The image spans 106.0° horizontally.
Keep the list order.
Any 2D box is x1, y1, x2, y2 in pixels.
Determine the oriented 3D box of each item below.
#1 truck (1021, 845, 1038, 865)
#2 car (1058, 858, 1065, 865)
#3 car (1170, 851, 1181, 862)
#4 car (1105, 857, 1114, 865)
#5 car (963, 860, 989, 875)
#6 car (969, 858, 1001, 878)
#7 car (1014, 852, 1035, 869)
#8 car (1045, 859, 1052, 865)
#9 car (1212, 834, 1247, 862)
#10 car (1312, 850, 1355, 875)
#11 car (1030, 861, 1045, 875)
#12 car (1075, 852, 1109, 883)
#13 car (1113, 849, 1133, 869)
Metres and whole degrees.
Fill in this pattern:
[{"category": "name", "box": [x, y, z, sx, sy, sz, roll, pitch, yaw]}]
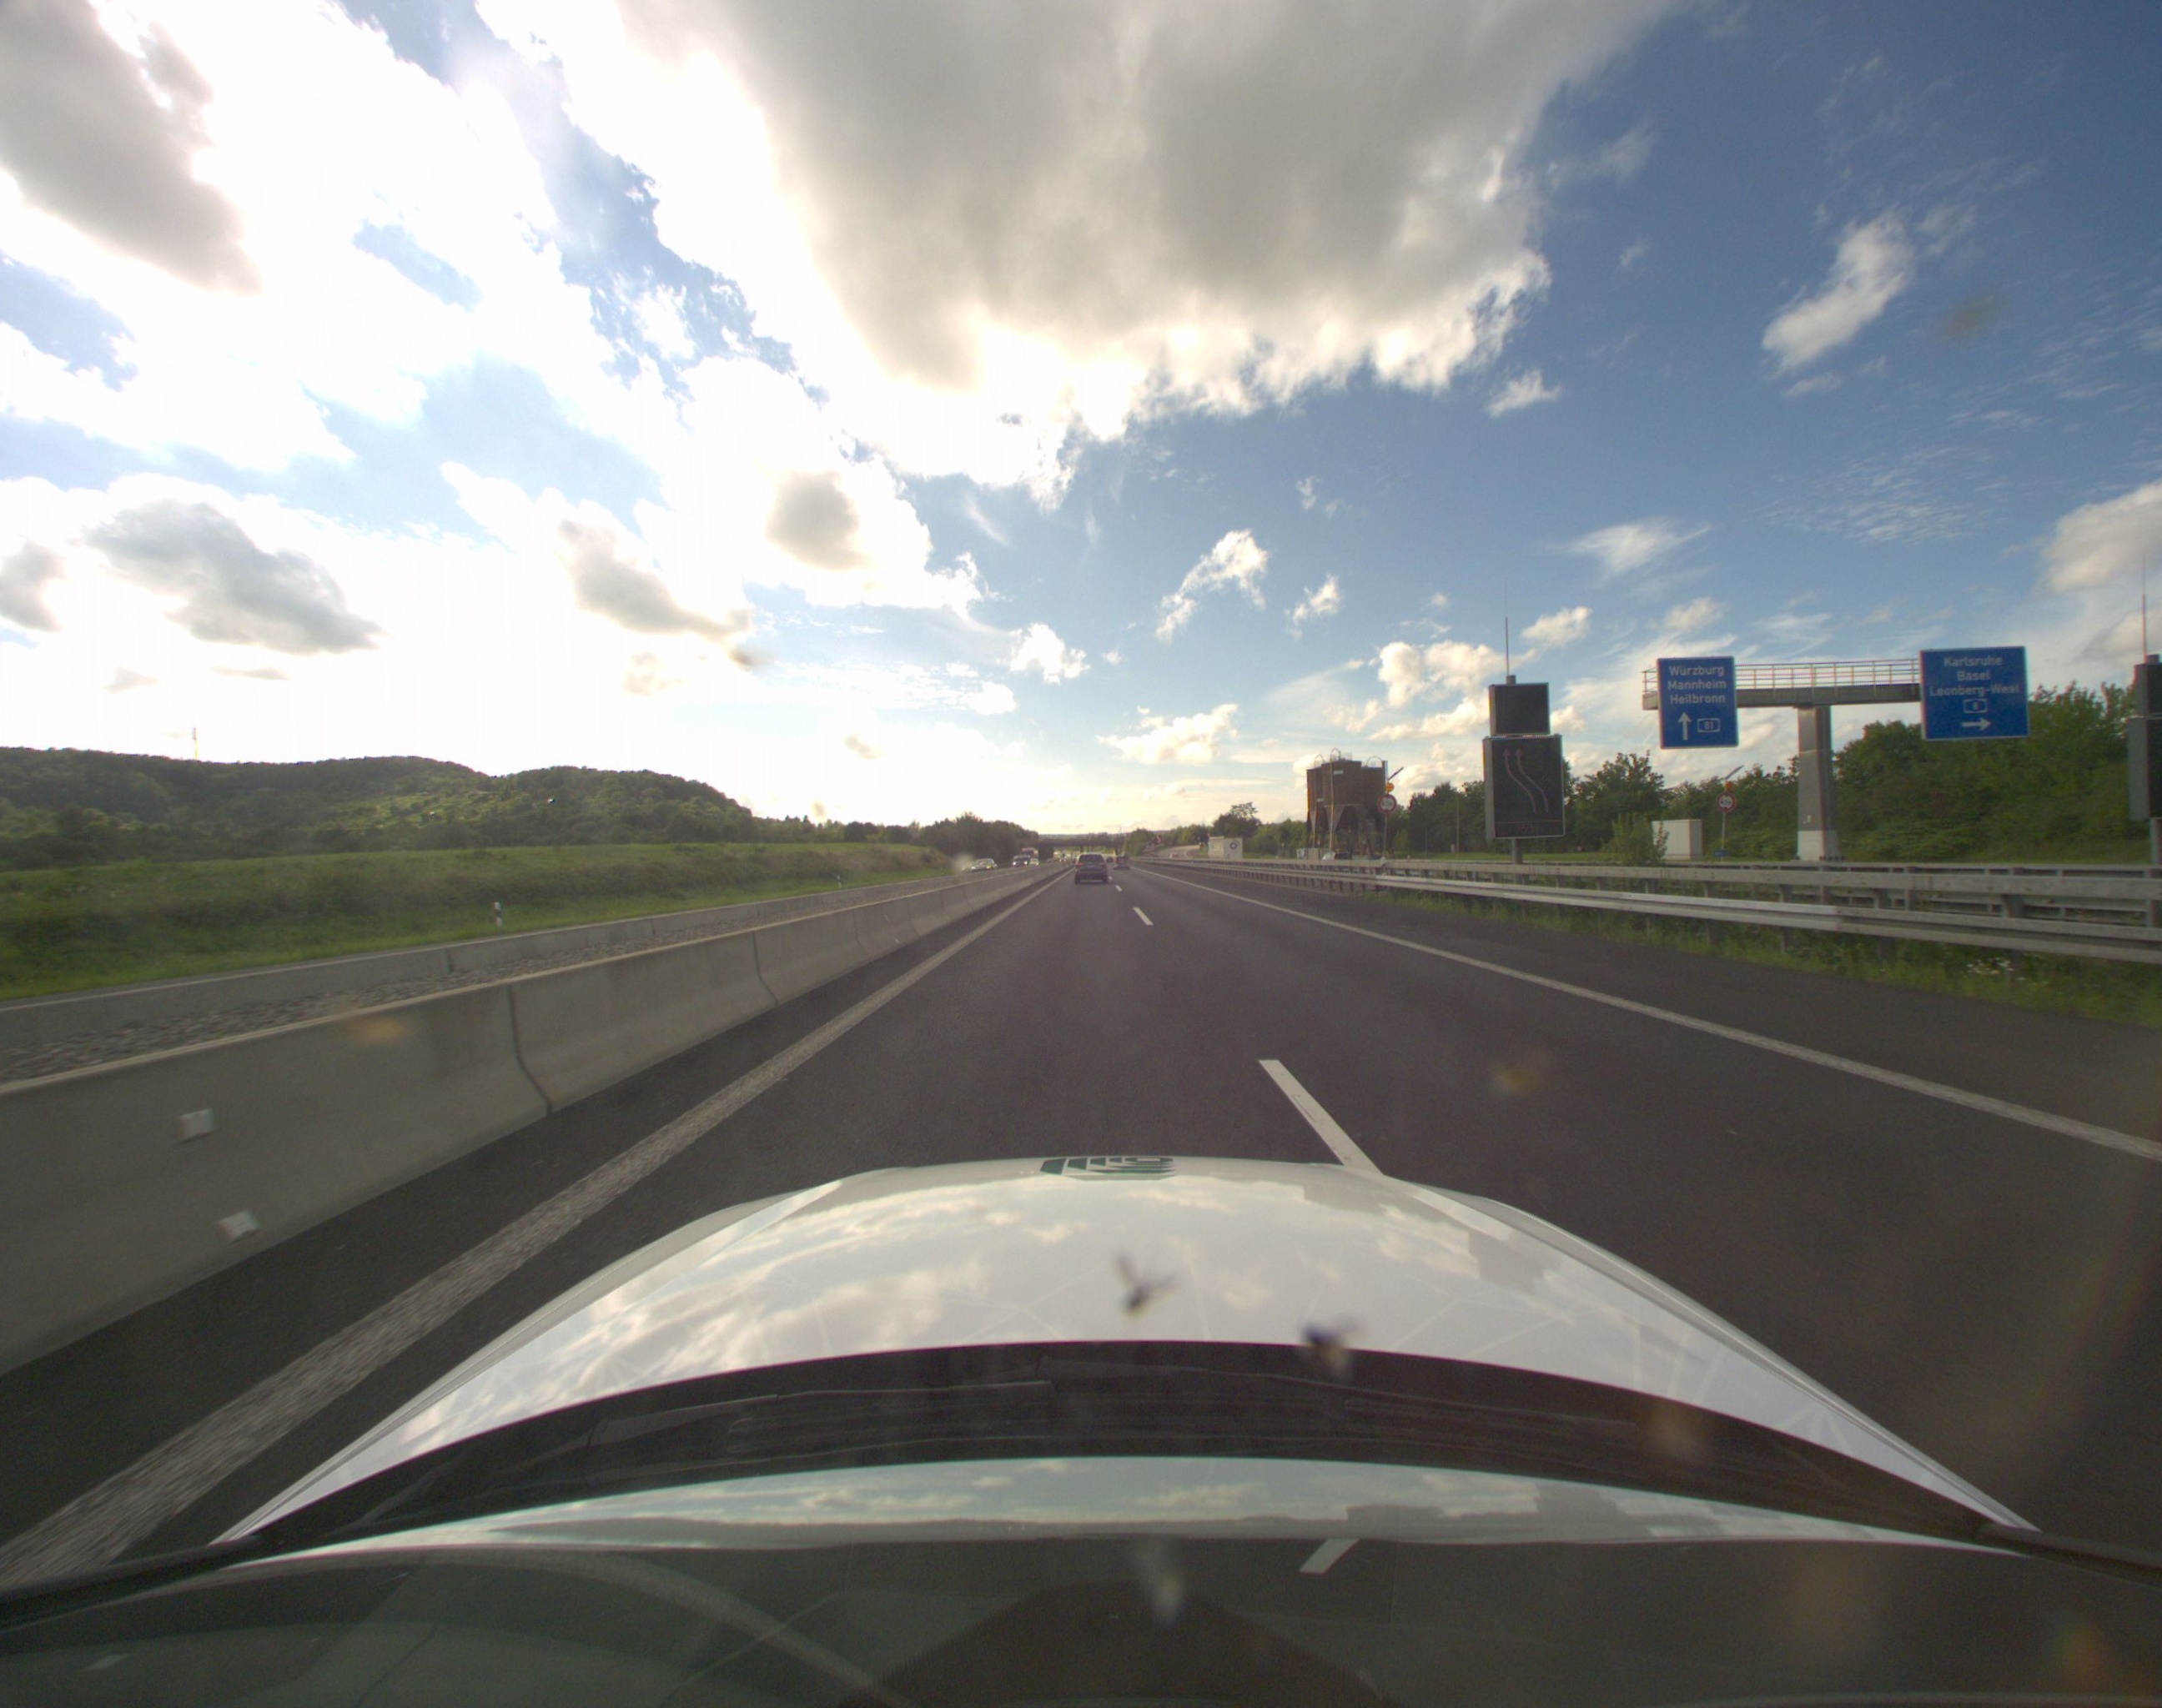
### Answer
[{"category": "truck", "box": [-10.785, 0.189, 171.402, 2.727, 3.924, 6.904, -3, 0, 2]}, {"category": "car", "box": [-6.020, 2.252, 248.251, 1.801, 1.832, 4.398, -3, 0, 2]}, {"category": "car", "box": [18.252, 0.499, 156.965, 1.984, 2.013, 4.006, -3, 0, 5]}, {"category": "car", "box": [6.384, 1.632, 184.088, 1.968, 1.779, 4.120, -3, 0, 1]}, {"category": "car", "box": [-11.348, 1.484, 88.549, 1.986, 1.478, 4.693, -3, 0, 2]}, {"category": "car", "box": [-8.419, 1.206, 72.092, 1.986, 1.573, 5.367, -3, 0, 2]}, {"category": "car", "box": [-6.912, 0.805, 100.006, 1.986, 2.013, 5.843, -3, 0, 2]}, {"category": "car", "box": [-10.020, 2.485, 252.258, 1.987, 1.717, 4.000, -3, 0, 1]}, {"category": "car", "box": [20.613, -0.804, 113.462, 3.564, 3.676, 7.549, -3, 0, 1]}, {"category": "car", "box": [18.925, 0.626, 61.159, 1.987, 1.717, 4.000, -3, 0, 1]}, {"category": "car", "box": [-6.792, 2.149, 127.372, 1.986, 2.013, 4.679, -2, 0, 2]}, {"category": "car", "box": [0.638, 0.744, 46.252, 1.743, 1.630, 3.611, -3, 0, 2]}, {"category": "car", "box": [4.651, 0.529, 90.992, 1.987, 2.081, 4.000, -3, 0, 1]}]
